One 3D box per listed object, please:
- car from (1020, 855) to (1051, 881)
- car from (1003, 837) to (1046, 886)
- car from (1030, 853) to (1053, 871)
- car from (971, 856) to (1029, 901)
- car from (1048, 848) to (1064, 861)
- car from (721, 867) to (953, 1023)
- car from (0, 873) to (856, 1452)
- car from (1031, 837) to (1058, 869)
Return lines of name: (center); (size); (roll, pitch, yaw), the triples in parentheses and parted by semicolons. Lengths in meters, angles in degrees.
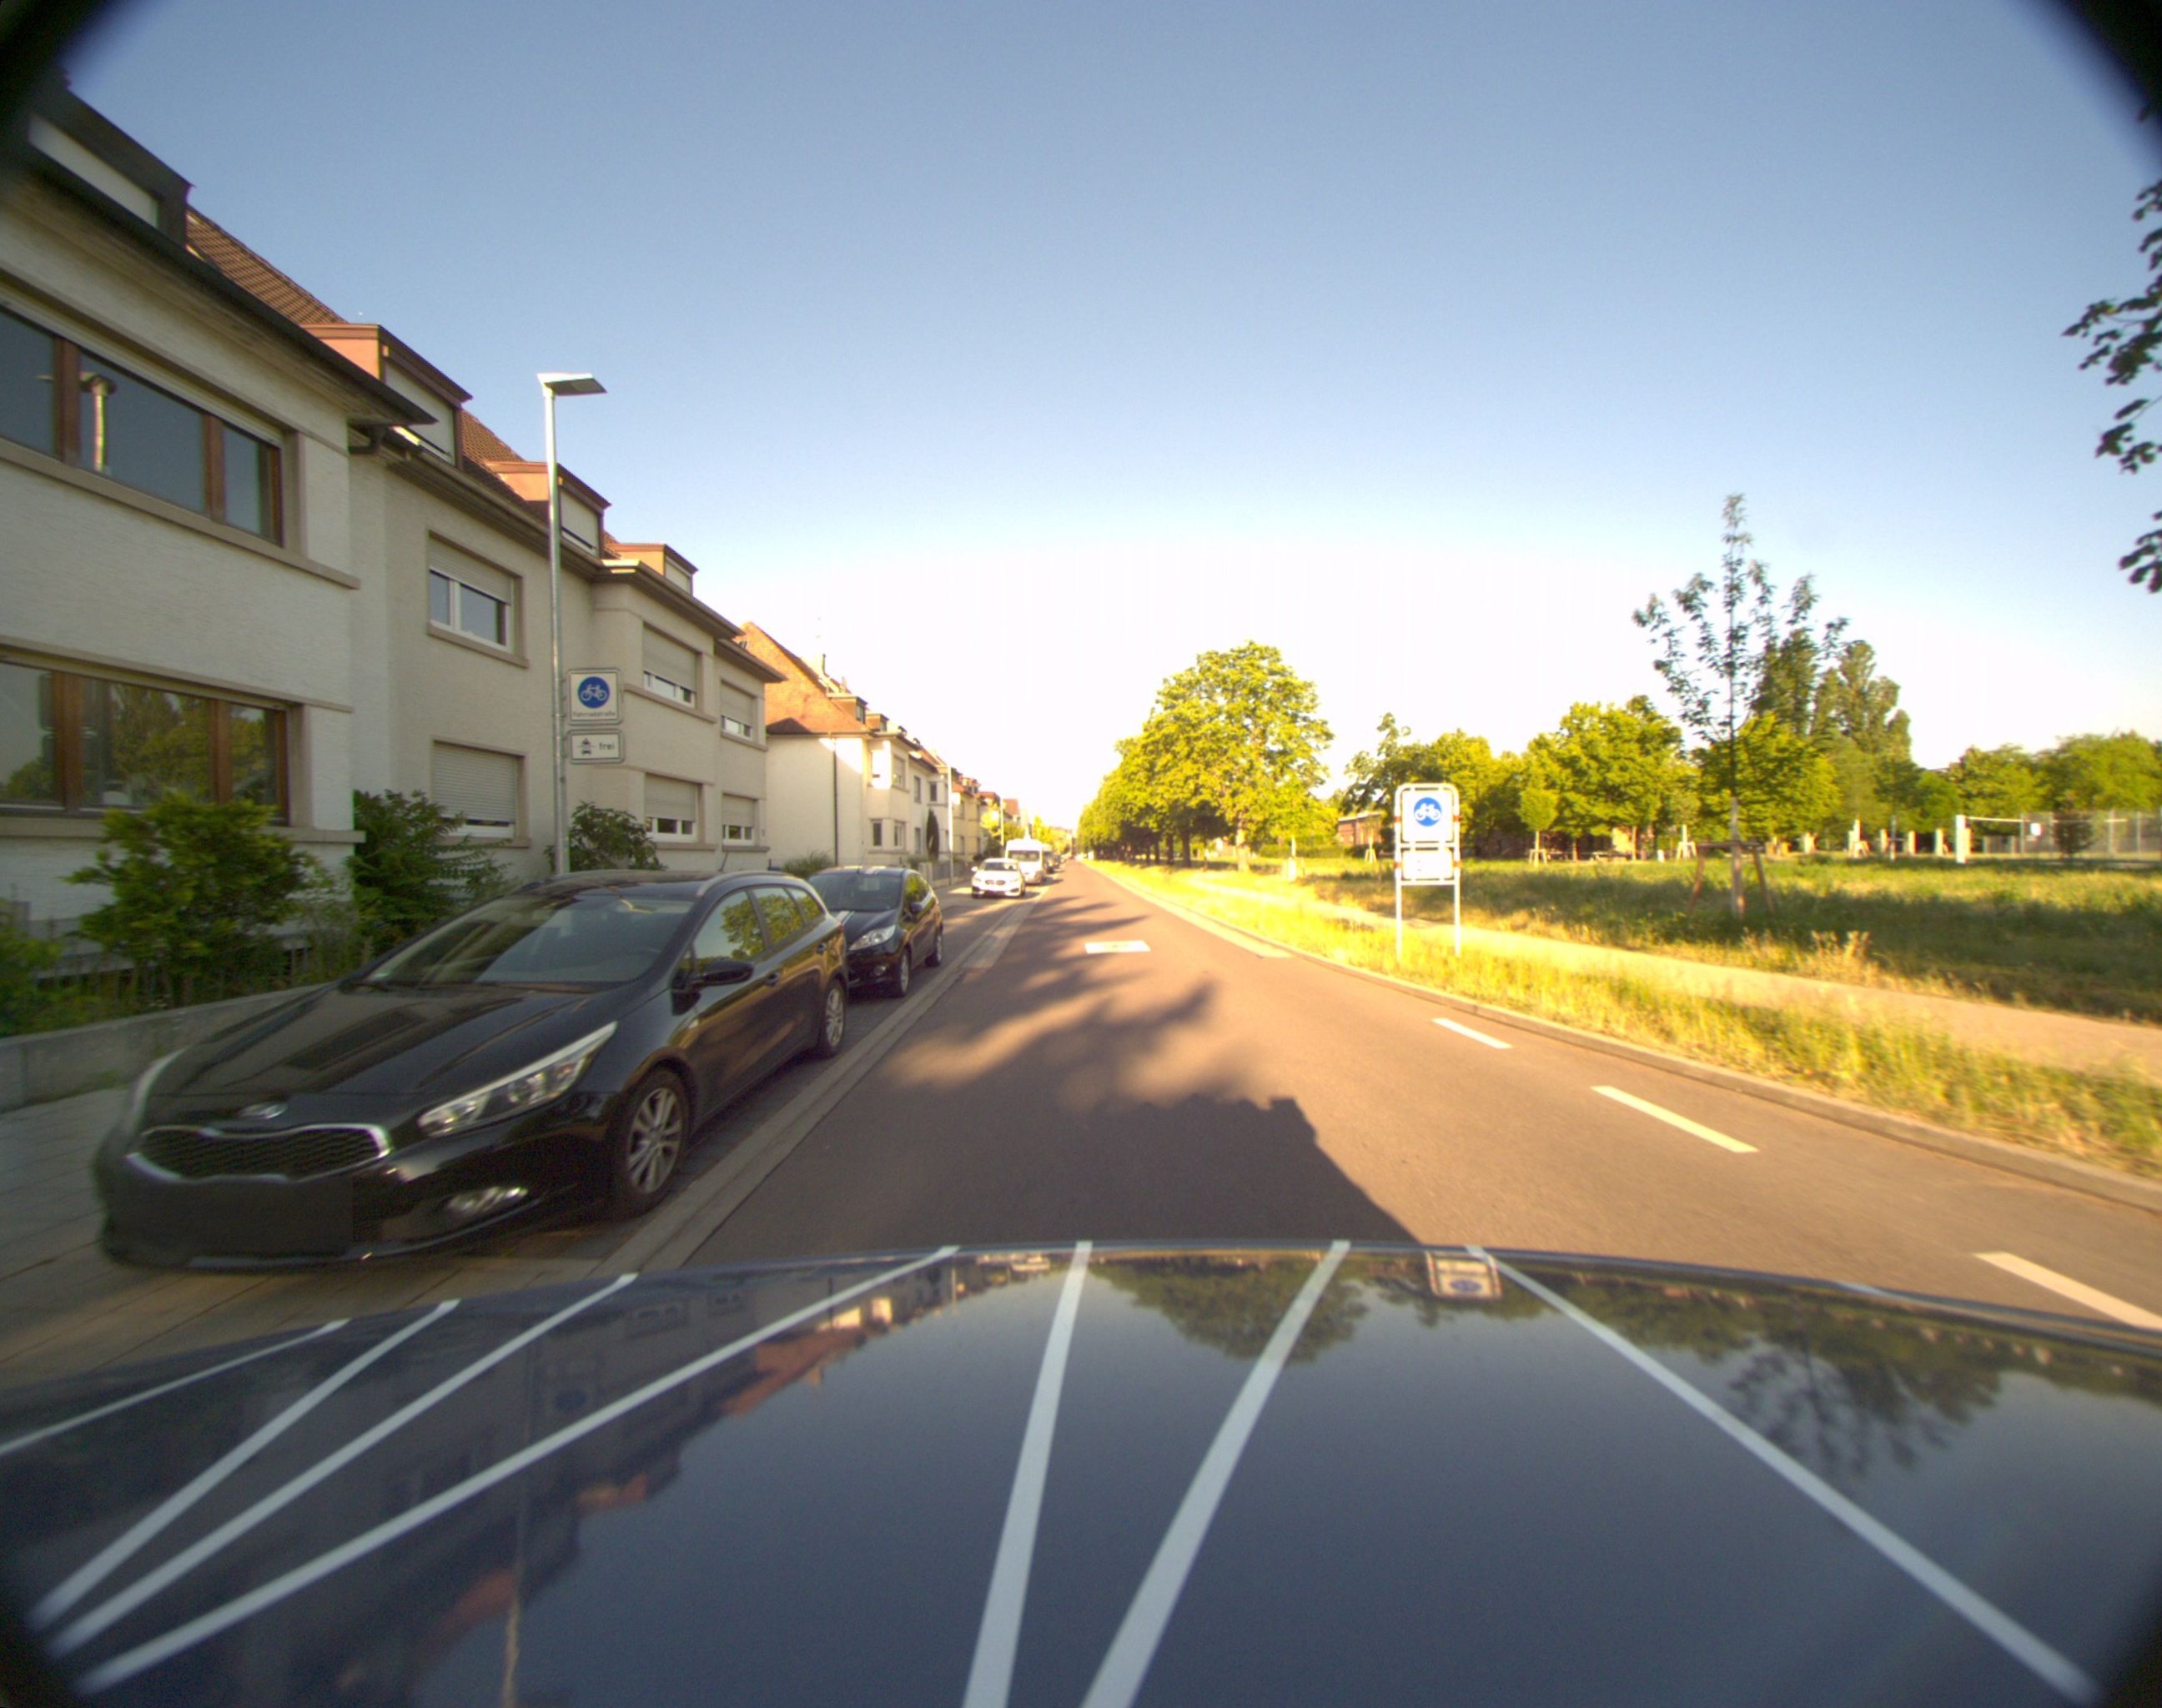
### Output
car: (-2.821, 0.852, 47.833); (1.626, 1.474, 4.107); (-2, 0, 1)
car: (-2.981, 0.346, 41.436); (2.135, 2.503, 5.506); (0, 0, -2)
car: (-3.385, 0.695, 65.916); (1.629, 1.431, 4.004); (-2, 1, 1)
car: (-2.964, 0.857, 28.644); (1.787, 1.498, 4.232); (1, 0, -1)
car: (-3.191, 0.006, 98.729); (1.974, 1.630, 3.999); (0, 0, 0)
car: (-2.793, 0.954, 9.649); (1.723, 1.463, 3.982); (1, 1, -1)
car: (-2.728, 0.920, 4.239); (1.751, 1.466, 4.254); (1, 1, -1)
car: (-3.421, -0.144, 72.227); (2.134, 2.837, 5.986); (-2, 0, 0)
